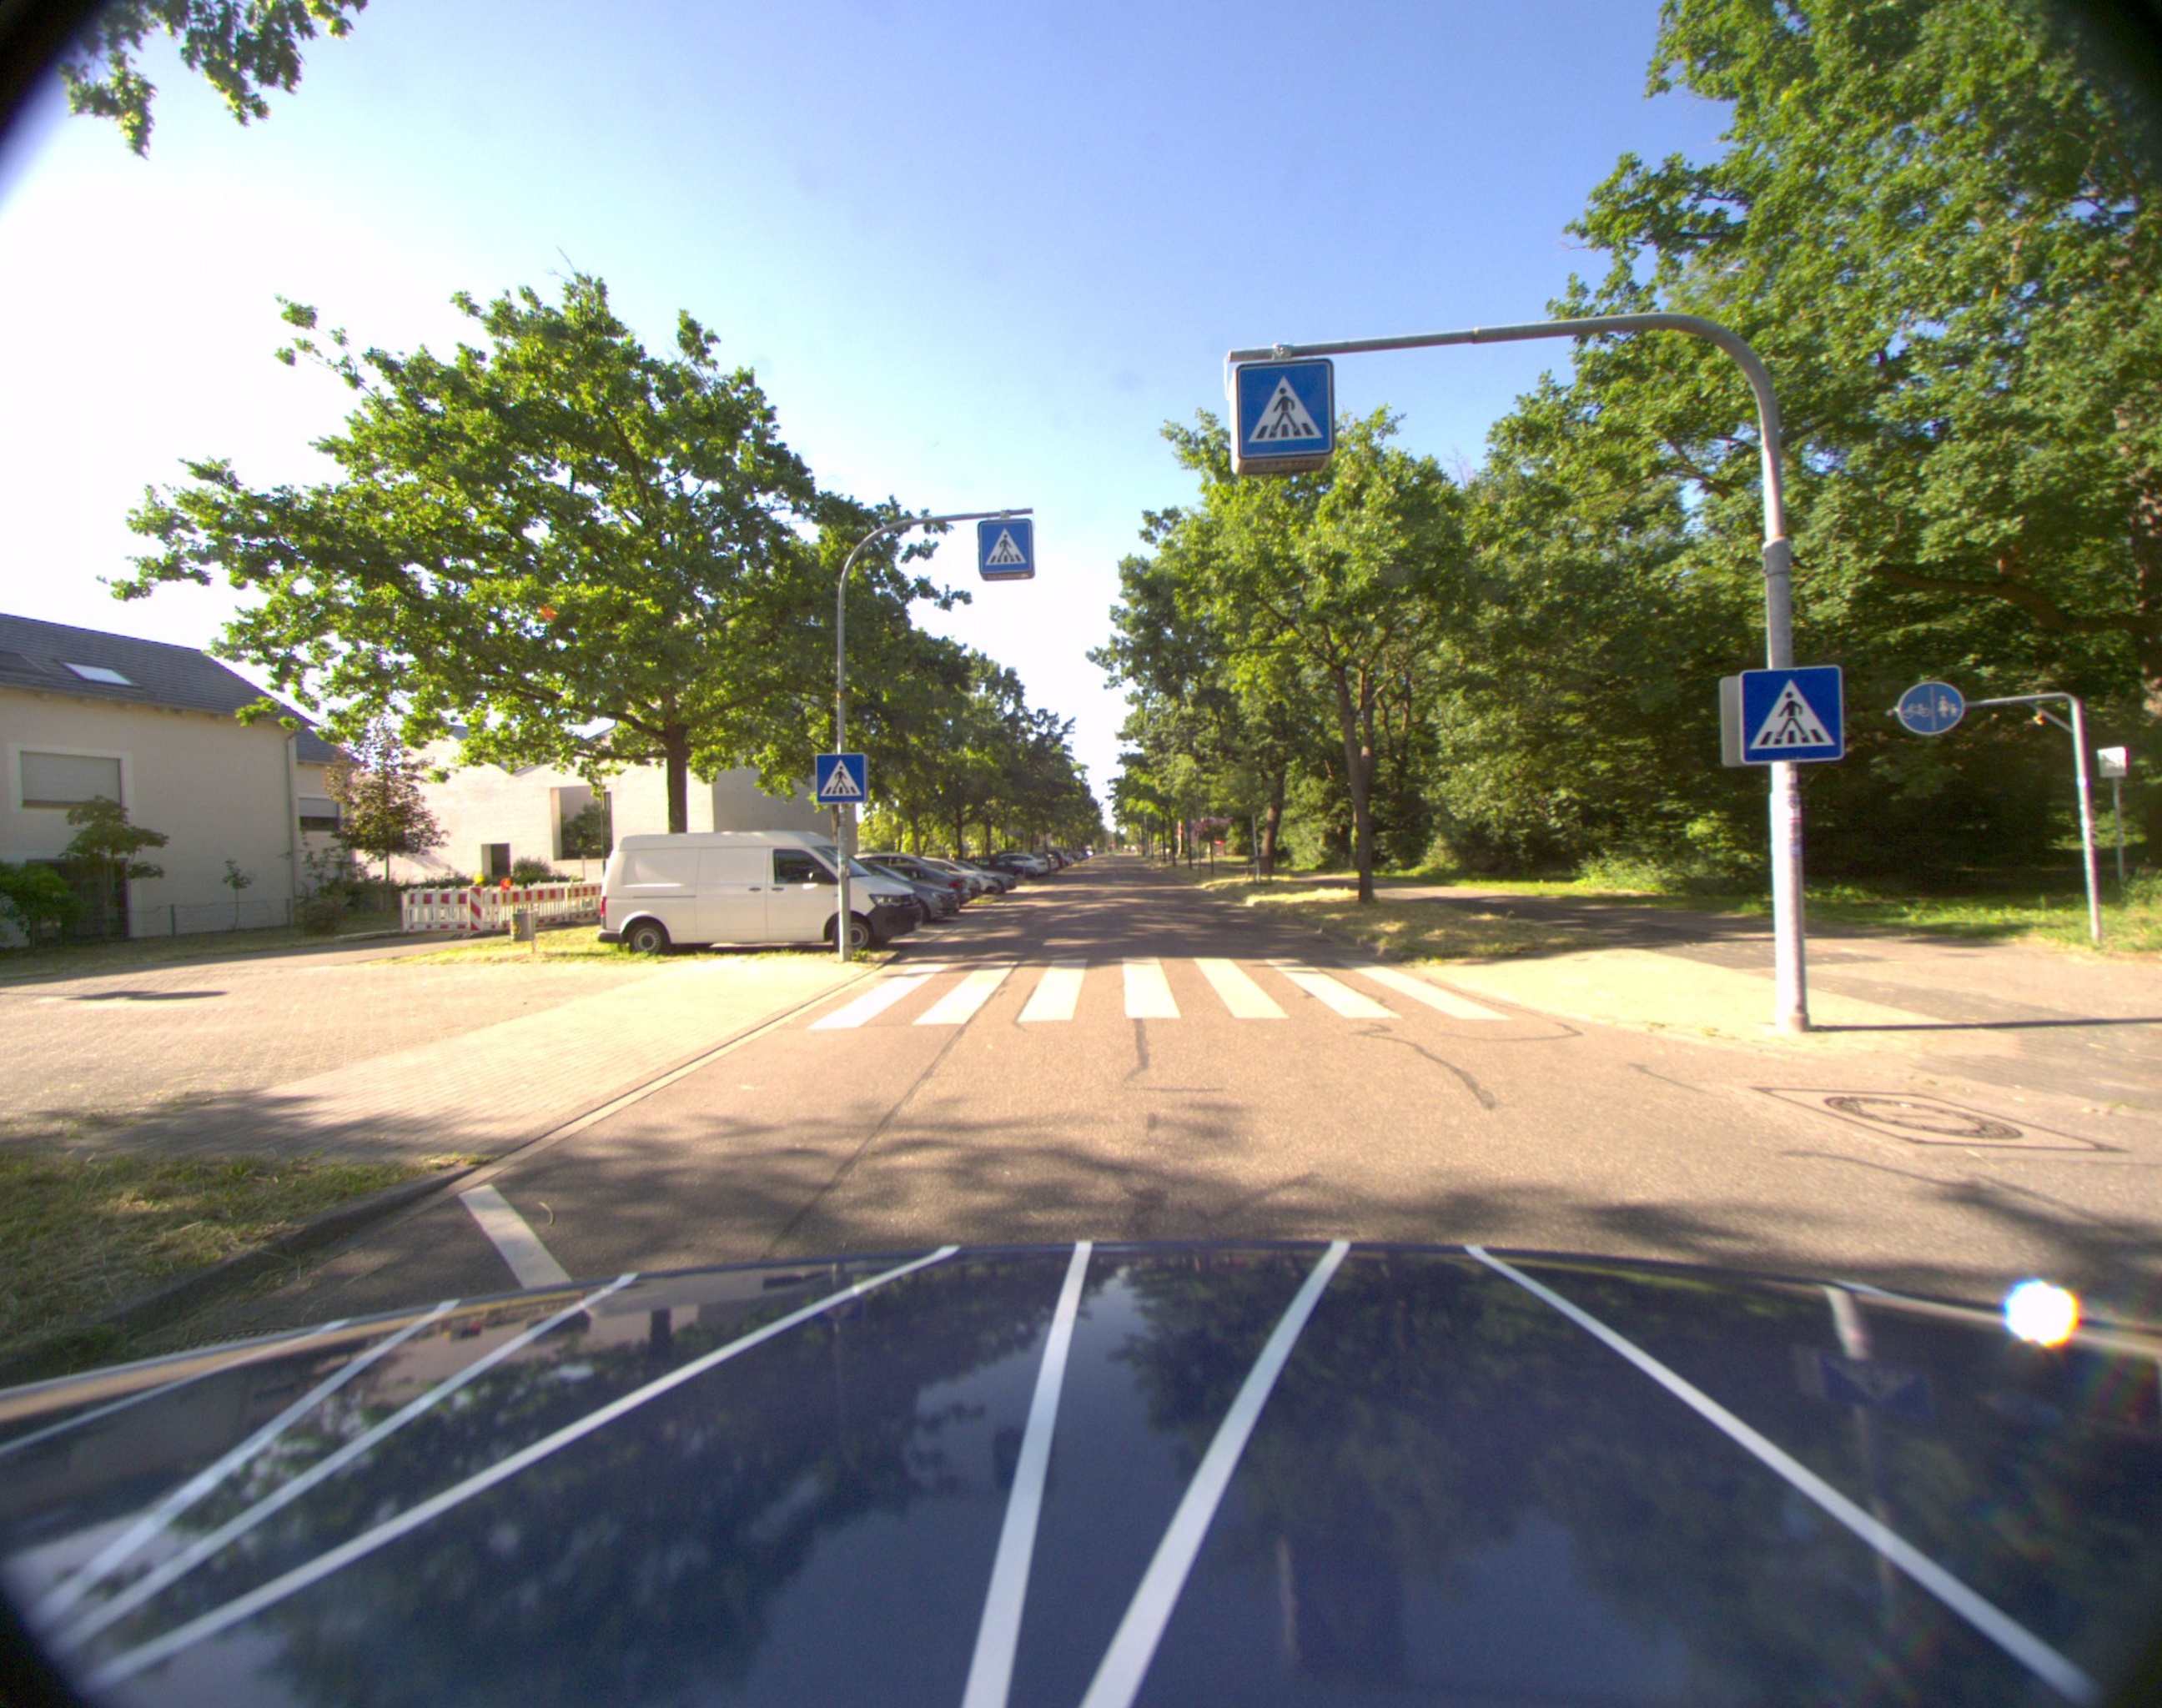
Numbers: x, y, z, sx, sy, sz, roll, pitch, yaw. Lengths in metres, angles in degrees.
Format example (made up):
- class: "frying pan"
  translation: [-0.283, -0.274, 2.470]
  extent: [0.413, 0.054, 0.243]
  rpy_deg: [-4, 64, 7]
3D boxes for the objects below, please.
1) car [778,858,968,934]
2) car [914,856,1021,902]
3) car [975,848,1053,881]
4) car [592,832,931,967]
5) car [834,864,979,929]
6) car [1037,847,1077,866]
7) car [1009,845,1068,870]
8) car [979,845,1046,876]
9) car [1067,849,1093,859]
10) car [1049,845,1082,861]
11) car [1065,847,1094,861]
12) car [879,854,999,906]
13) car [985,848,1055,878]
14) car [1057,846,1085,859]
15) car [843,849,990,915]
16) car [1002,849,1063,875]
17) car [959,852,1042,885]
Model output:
- class: "car"
  translation: [-4.922, 0.977, 18.332]
  extent: [3.996, 1.554, 1.758]
  rpy_deg: [-3, 1, 4]
- class: "car"
  translation: [-4.580, 1.010, 31.014]
  extent: [4.018, 1.650, 1.533]
  rpy_deg: [-3, 1, 4]
- class: "car"
  translation: [-4.035, 0.623, 46.143]
  extent: [4.394, 1.733, 1.533]
  rpy_deg: [-3, 1, 4]
- class: "car"
  translation: [-5.377, 0.738, 13.237]
  extent: [5.045, 2.069, 1.891]
  rpy_deg: [-1, 1, 2]
- class: "car"
  translation: [-4.733, 1.150, 20.872]
  extent: [3.515, 1.533, 1.448]
  rpy_deg: [-3, 1, 4]
- class: "car"
  translation: [-2.532, 0.277, 80.041]
  extent: [3.996, 1.838, 1.863]
  rpy_deg: [-3, 1, 3]
- class: "car"
  translation: [-3.332, 0.270, 59.891]
  extent: [4.394, 1.733, 1.533]
  rpy_deg: [-3, 1, 4]
- class: "car"
  translation: [-4.786, 0.454, 53.596]
  extent: [4.394, 1.977, 1.533]
  rpy_deg: [-3, 1, 4]
- class: "car"
  translation: [-0.146, -0.053, 122.111]
  extent: [4.150, 1.401, 1.800]
  rpy_deg: [-3, 1, 3]
- class: "car"
  translation: [-2.035, -0.165, 101.119]
  extent: [4.151, 1.838, 1.949]
  rpy_deg: [-3, 1, 3]
- class: "car"
  translation: [-0.236, 0.029, 112.219]
  extent: [4.151, 1.838, 1.949]
  rpy_deg: [-3, 1, 3]
- class: "car"
  translation: [-5.179, 0.939, 28.039]
  extent: [4.018, 1.669, 1.533]
  rpy_deg: [-3, 1, 4]
- class: "car"
  translation: [-4.045, 0.583, 50.632]
  extent: [4.394, 1.733, 1.533]
  rpy_deg: [-3, 1, 4]
- class: "car"
  translation: [-1.487, -0.284, 117.321]
  extent: [4.151, 1.838, 1.949]
  rpy_deg: [-3, 1, 3]
- class: "car"
  translation: [-5.005, 0.827, 23.430]
  extent: [4.018, 1.783, 1.713]
  rpy_deg: [-3, 1, 4]
- class: "car"
  translation: [-3.639, 0.601, 57.406]
  extent: [4.394, 1.733, 1.533]
  rpy_deg: [-3, 1, 4]
- class: "car"
  translation: [-4.519, 0.826, 43.051]
  extent: [4.394, 1.632, 1.533]
  rpy_deg: [-3, 1, 4]
